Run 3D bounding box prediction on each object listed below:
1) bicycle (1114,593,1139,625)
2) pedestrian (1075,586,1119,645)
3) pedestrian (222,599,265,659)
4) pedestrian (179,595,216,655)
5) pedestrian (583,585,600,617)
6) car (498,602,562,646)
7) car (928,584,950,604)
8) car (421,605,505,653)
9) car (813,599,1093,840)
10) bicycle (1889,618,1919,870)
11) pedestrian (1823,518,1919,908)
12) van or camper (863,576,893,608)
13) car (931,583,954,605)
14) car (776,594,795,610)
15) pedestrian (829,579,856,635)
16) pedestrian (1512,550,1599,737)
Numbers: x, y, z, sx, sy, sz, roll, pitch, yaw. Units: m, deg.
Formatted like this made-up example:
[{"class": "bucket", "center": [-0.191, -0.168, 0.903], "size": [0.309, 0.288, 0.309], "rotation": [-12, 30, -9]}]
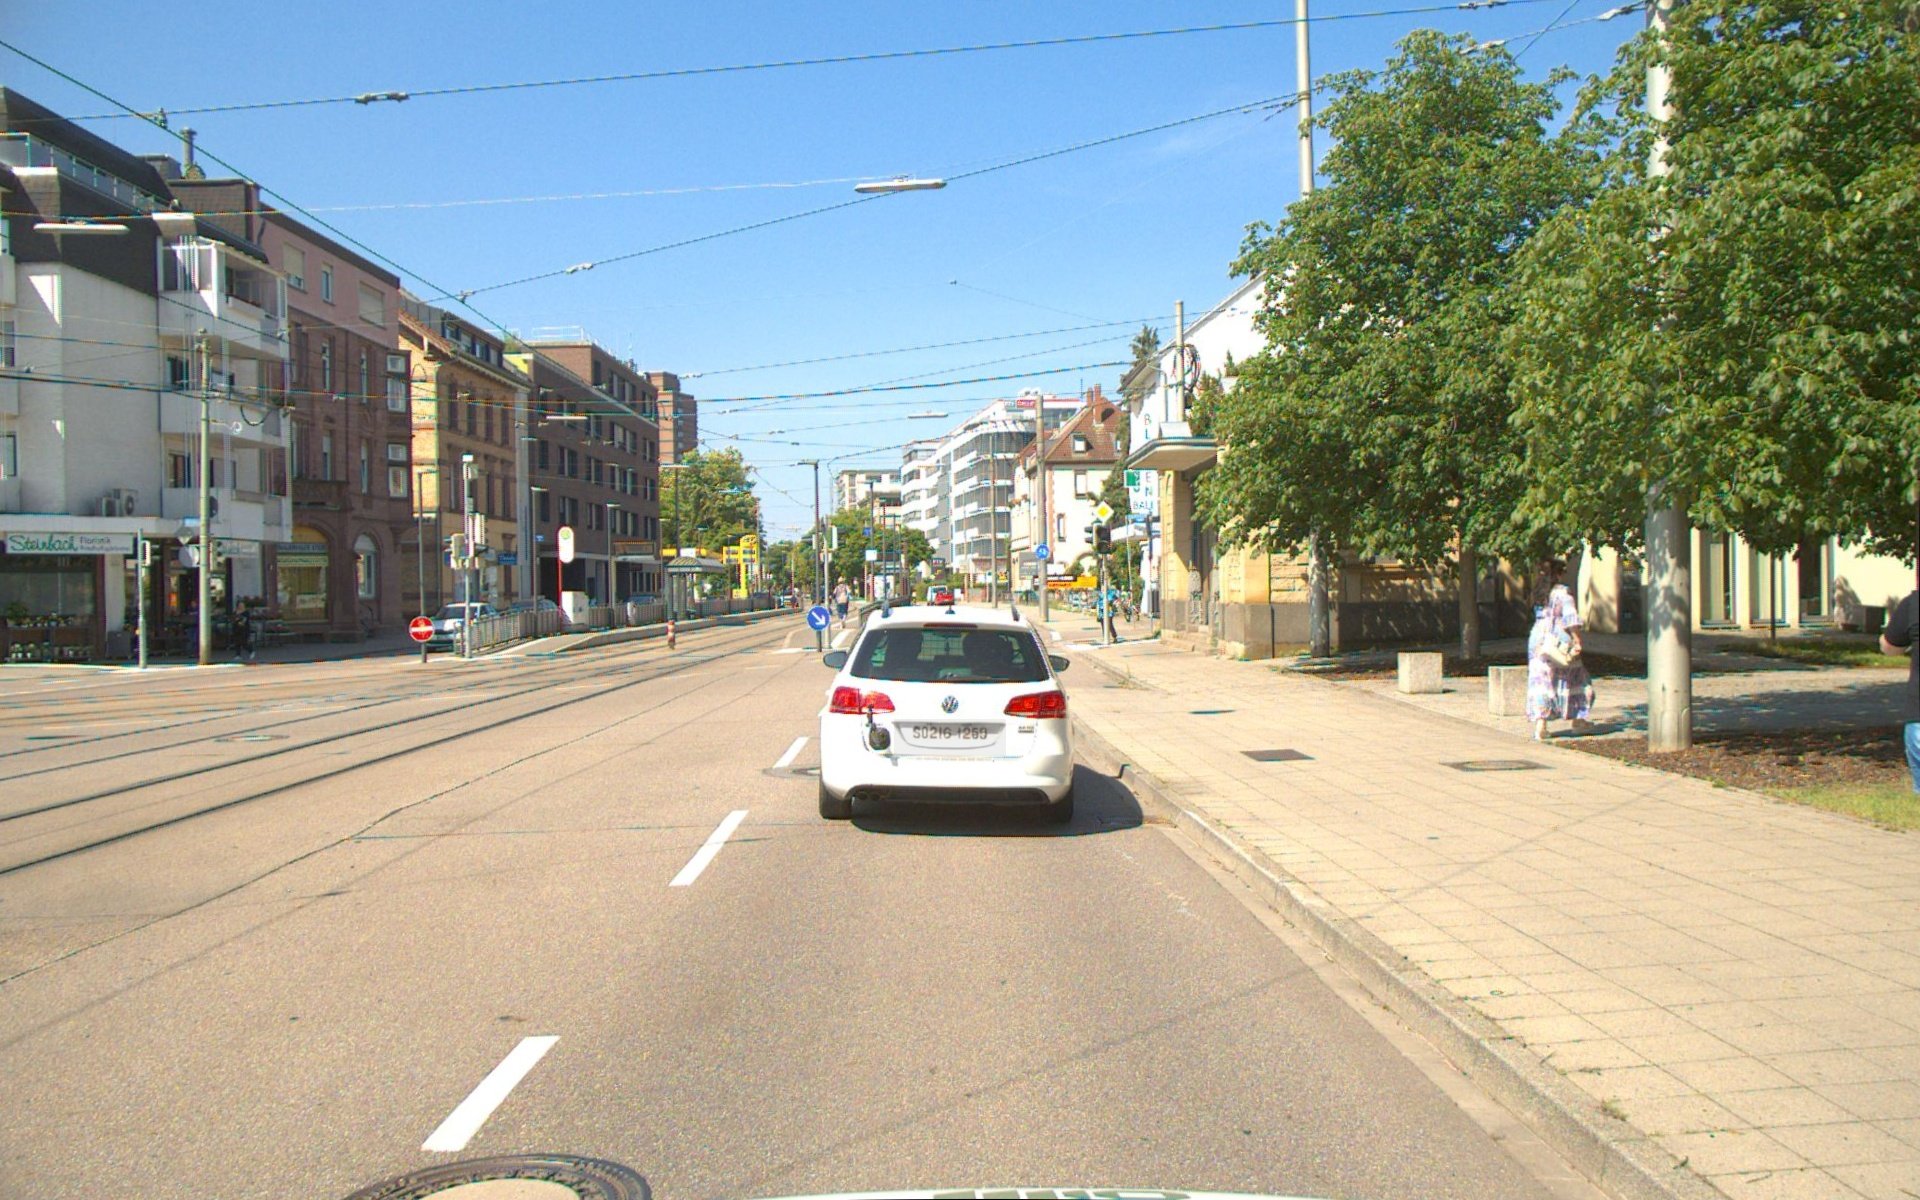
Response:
[{"class": "bicycle", "center": [6.372, 0.337, 63.216], "size": [0.710, 1.159, 2.197], "rotation": [-1, 0, 12]}, {"class": "pedestrian", "center": [3.642, 0.398, 43.944], "size": [0.848, 1.536, 0.772], "rotation": [-1, 0, -34]}, {"class": "pedestrian", "center": [-20.408, 0.825, 47.095], "size": [0.859, 1.676, 0.681], "rotation": [-1, 0, 5]}, {"class": "pedestrian", "center": [-21.490, 0.698, 46.629], "size": [0.665, 1.676, 0.732], "rotation": [-1, 0, -1]}, {"class": "pedestrian", "center": [-21.784, 0.063, 97.765], "size": [0.710, 1.822, 0.964], "rotation": [-2, 0, -1]}, {"class": "car", "center": [-15.763, 0.847, 60.733], "size": [1.541, 1.484, 3.811], "rotation": [-2, 0, -4]}, {"class": "car", "center": [-2.210, -0.627, 170.482], "size": [1.955, 2.049, 3.996], "rotation": [-1, 0, -5]}, {"class": "car", "center": [-15.831, 0.905, 52.865], "size": [1.593, 1.456, 3.961], "rotation": [0, 0, -2]}, {"class": "car", "center": [-0.046, 0.740, 12.185], "size": [1.717, 1.442, 3.853], "rotation": [1, 0, 0]}, {"class": "bicycle", "center": [4.460, 0.646, 6.762], "size": [0.524, 1.130, 1.808], "rotation": [-2, 0, 9]}, {"class": "pedestrian", "center": [4.107, 0.442, 6.943], "size": [0.529, 1.575, 0.663], "rotation": [-3, 0, -1]}, {"class": "van or camper", "center": [-8.601, -0.891, 173.667], "size": [2.884, 3.235, 6.612], "rotation": [-1, 0, -1]}, {"class": "car", "center": [-1.752, -0.613, 165.046], "size": [1.955, 2.049, 3.996], "rotation": [-1, 0, -5]}, {"class": "car", "center": [-17.971, 0.196, 170.439], "size": [1.634, 1.492, 3.772], "rotation": [-1, 0, -1]}, {"class": "pedestrian", "center": [-3.975, 0.240, 55.845], "size": [0.809, 1.841, 0.833], "rotation": [-1, 0, 0]}, {"class": "pedestrian", "center": [5.616, 0.401, 15.633], "size": [0.636, 1.711, 0.708], "rotation": [-1, 0, 11]}]
